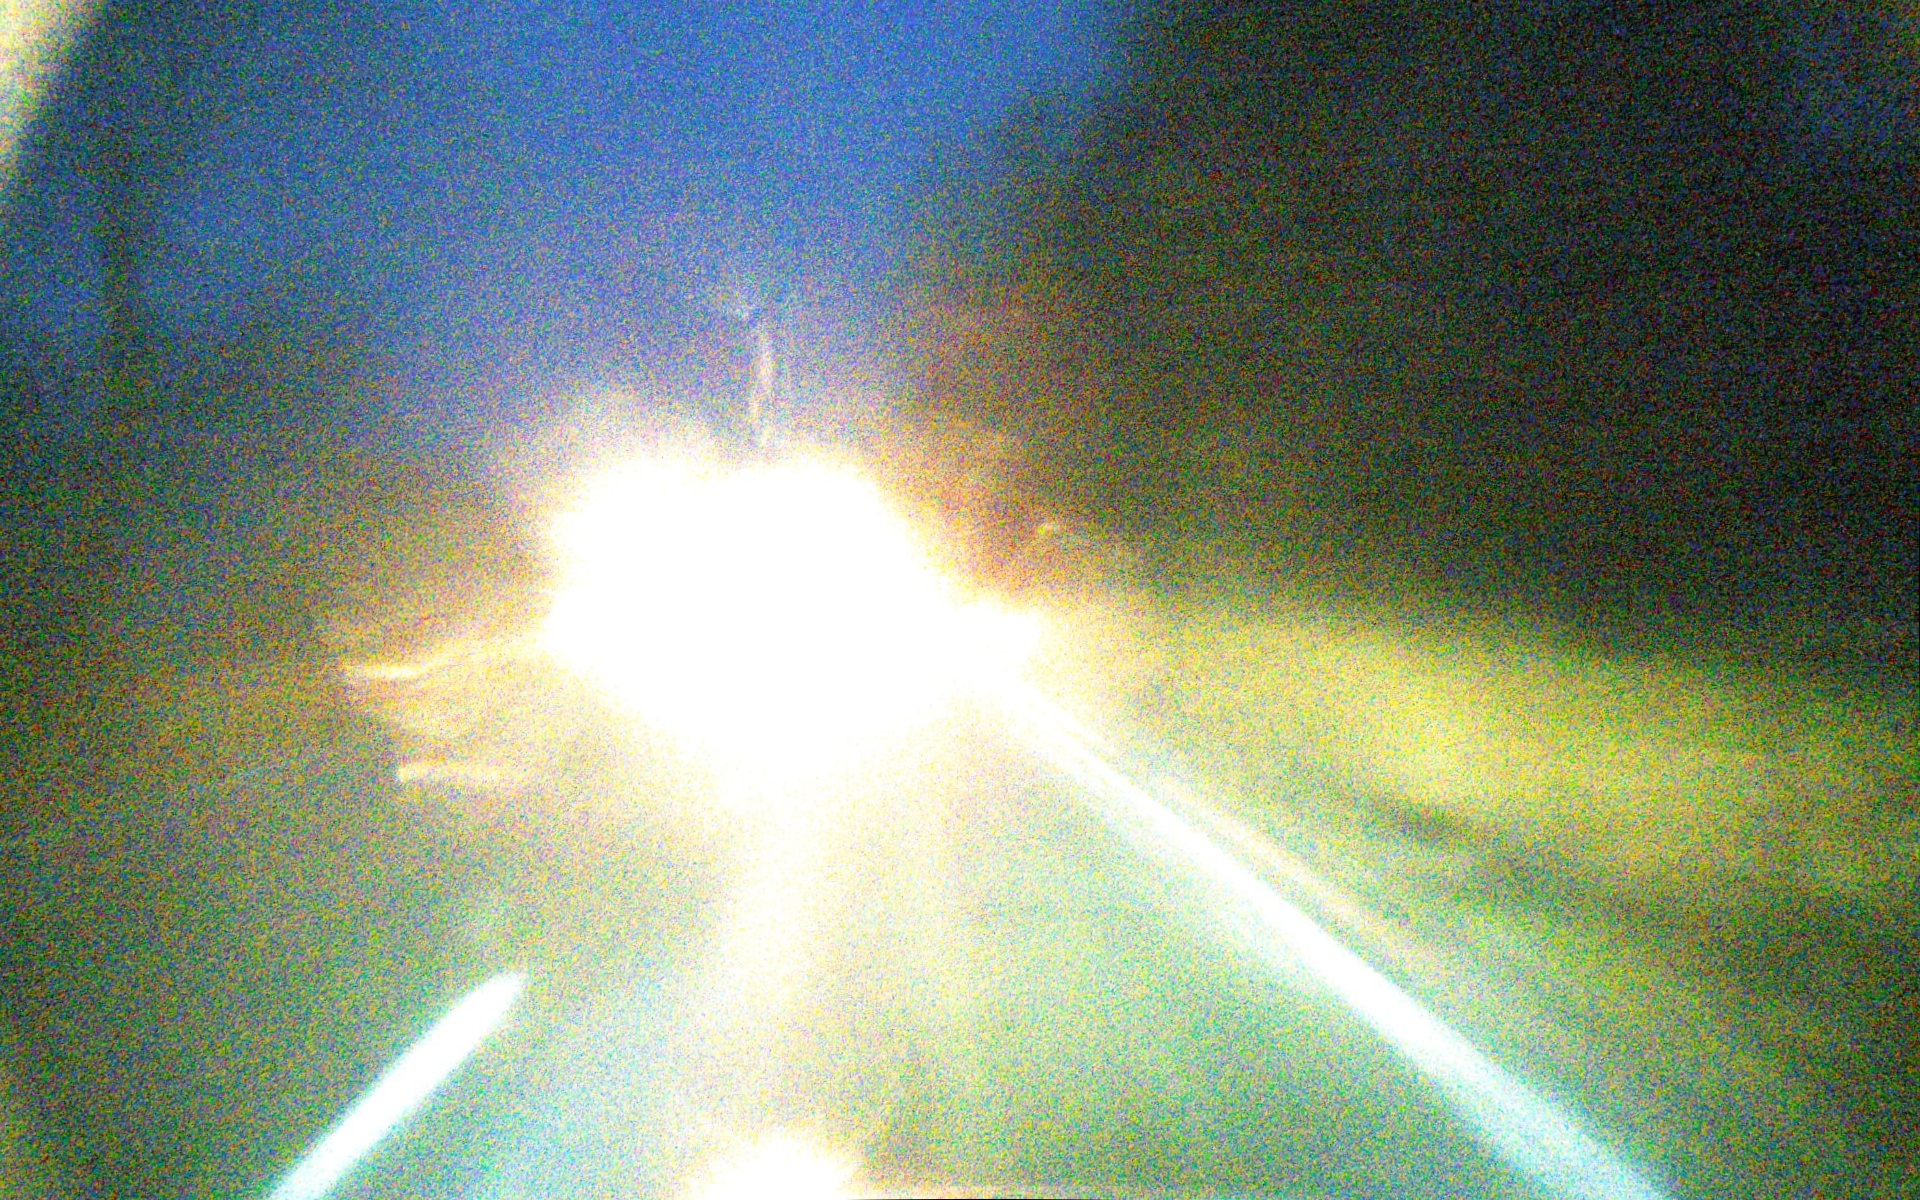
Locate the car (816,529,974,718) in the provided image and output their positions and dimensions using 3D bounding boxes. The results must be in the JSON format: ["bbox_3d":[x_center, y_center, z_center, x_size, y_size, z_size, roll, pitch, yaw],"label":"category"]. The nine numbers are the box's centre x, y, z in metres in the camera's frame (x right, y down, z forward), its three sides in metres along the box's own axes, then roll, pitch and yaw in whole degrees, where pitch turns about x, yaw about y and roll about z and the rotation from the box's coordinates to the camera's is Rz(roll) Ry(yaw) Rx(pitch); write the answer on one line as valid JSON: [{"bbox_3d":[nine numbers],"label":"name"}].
[{"bbox_3d":[-1.072,0.309,25.935,2.138,2.601,4.504,3,1,-4],"label":"car"}]

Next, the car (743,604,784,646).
[{"bbox_3d":[-9.928,1.244,83.805,1.955,2.049,4.450,-1,0,-6],"label":"car"}]
